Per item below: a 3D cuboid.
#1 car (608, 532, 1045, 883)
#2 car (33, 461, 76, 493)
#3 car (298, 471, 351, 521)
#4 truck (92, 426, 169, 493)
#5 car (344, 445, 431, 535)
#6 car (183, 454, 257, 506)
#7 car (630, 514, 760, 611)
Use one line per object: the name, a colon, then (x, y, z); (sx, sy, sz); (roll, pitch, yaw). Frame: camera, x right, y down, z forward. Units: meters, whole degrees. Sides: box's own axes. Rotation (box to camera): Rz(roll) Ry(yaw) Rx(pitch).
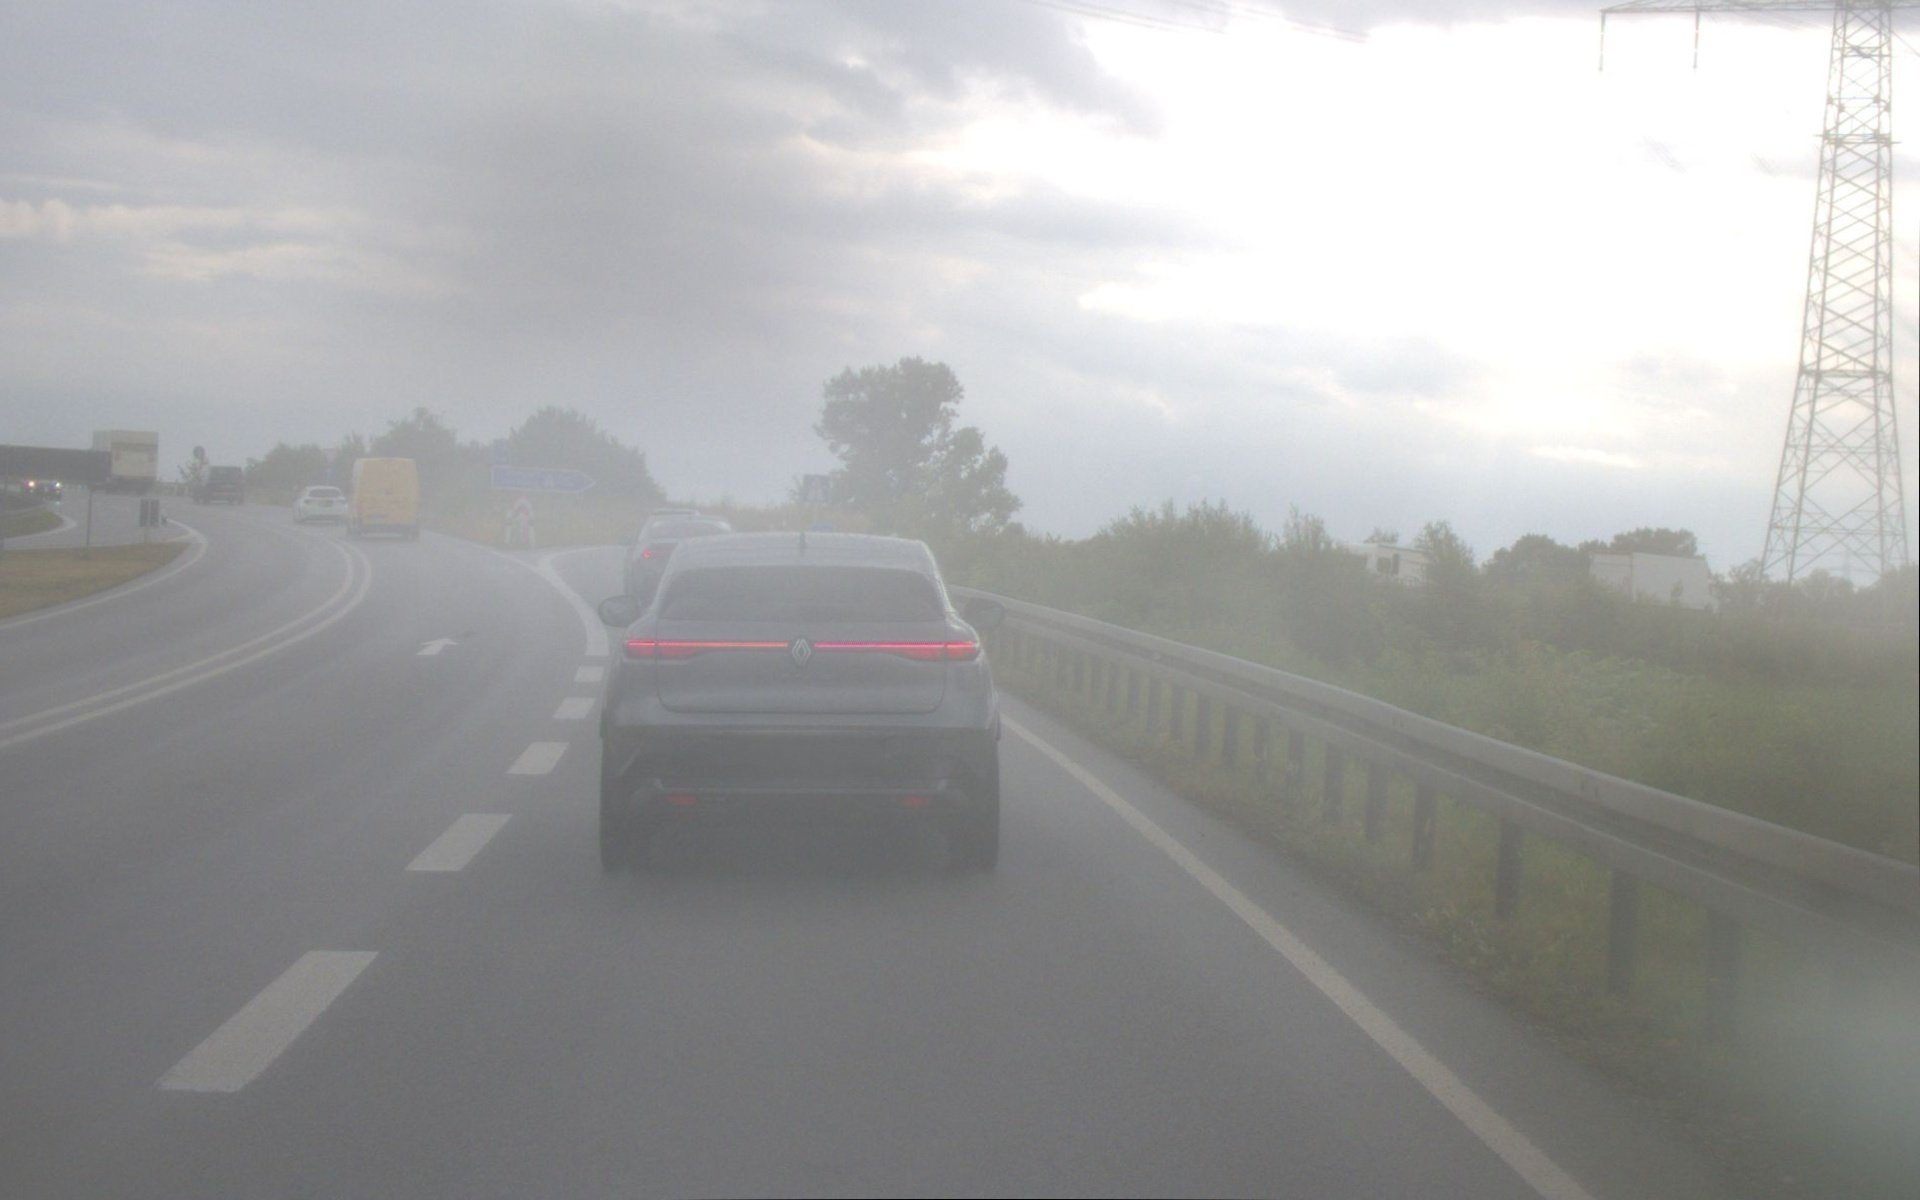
car: (-0.615, 0.426, 16.264); (1.791, 1.436, 4.000); (1, 1, -2)
car: (-44.991, -6.100, 170.721); (1.744, 1.361, 4.051); (-3, 1, -18)
car: (-23.843, -3.883, 128.976); (1.791, 1.682, 4.001); (1, 0, -12)
truck: (-46.571, -7.834, 192.951); (3.045, 3.373, 7.646); (1, 0, -22)
car: (-18.177, -3.523, 108.866); (2.572, 2.716, 7.199); (-1, 2, -10)
car: (-36.080, -5.828, 167.556); (2.601, 2.243, 5.536); (1, 0, -22)
car: (-4.354, -0.591, 56.076); (1.791, 1.436, 4.001); (3, 0, -8)
